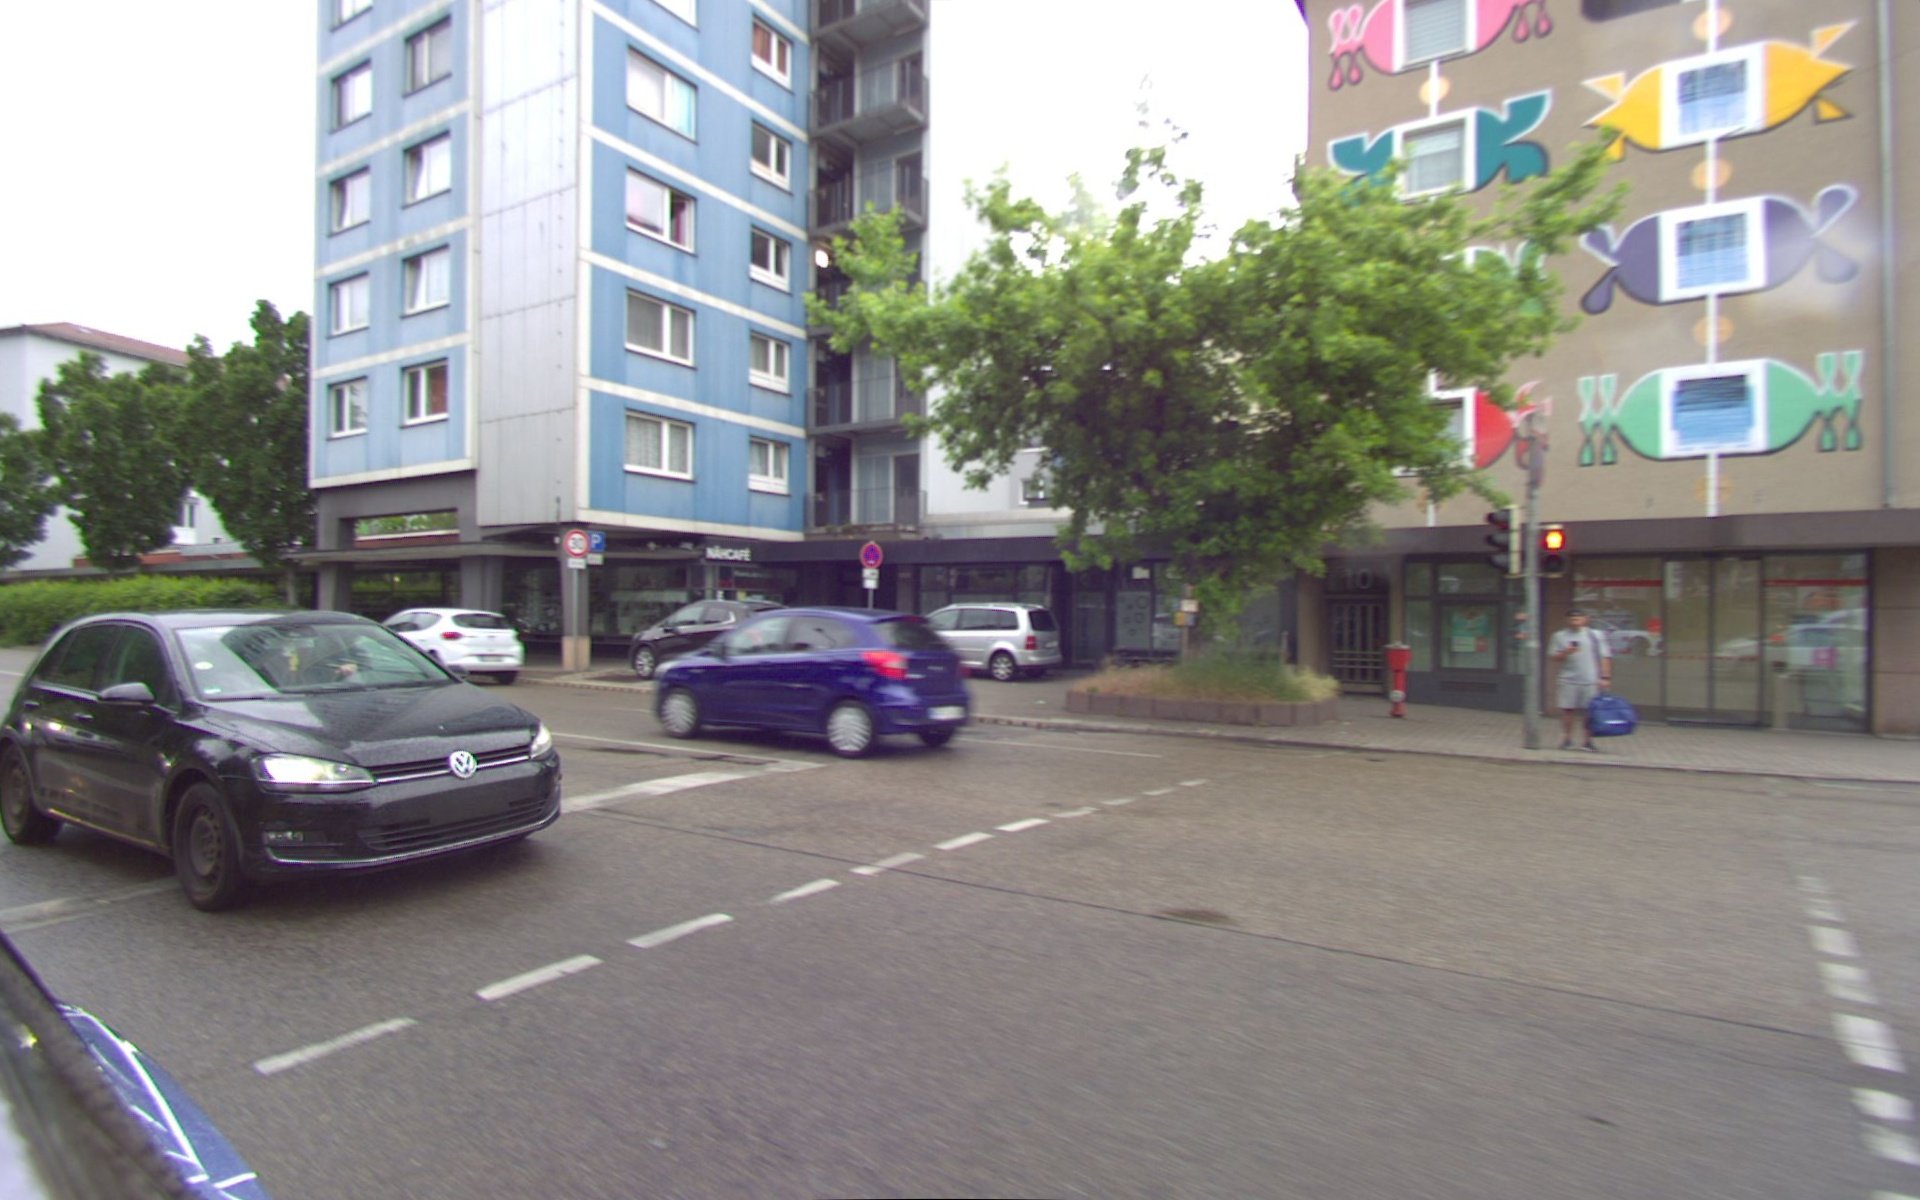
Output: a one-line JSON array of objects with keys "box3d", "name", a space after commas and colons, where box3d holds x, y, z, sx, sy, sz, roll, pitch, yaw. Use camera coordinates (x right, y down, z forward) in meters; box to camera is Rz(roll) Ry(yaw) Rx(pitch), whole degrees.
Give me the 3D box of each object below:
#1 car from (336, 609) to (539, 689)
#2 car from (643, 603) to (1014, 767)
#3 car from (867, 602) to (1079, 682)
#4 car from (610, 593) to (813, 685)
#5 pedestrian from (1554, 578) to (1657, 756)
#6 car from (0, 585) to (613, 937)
[{"box3d": [-10.842, 1.004, 20.936, 4.077, 1.506, 1.977, -1, -4, 34], "name": "car"}, {"box3d": [-1.500, 0.816, 11.109, 3.804, 1.503, 1.772, 0, -2, 34], "name": "car"}, {"box3d": [0.262, 0.877, 23.161, 4.494, 1.667, 1.979, 0, 0, 31], "name": "car"}, {"box3d": [-5.161, 0.738, 20.836, 4.273, 1.719, 1.527, 0, 0, 32], "name": "car"}, {"box3d": [7.723, 0.775, 12.160, 0.881, 2.029, 0.936, 0, -2, 23], "name": "pedestrian"}, {"box3d": [-4.100, 0.712, 6.029, 3.986, 1.464, 1.742, -1, -1, 32], "name": "car"}]
